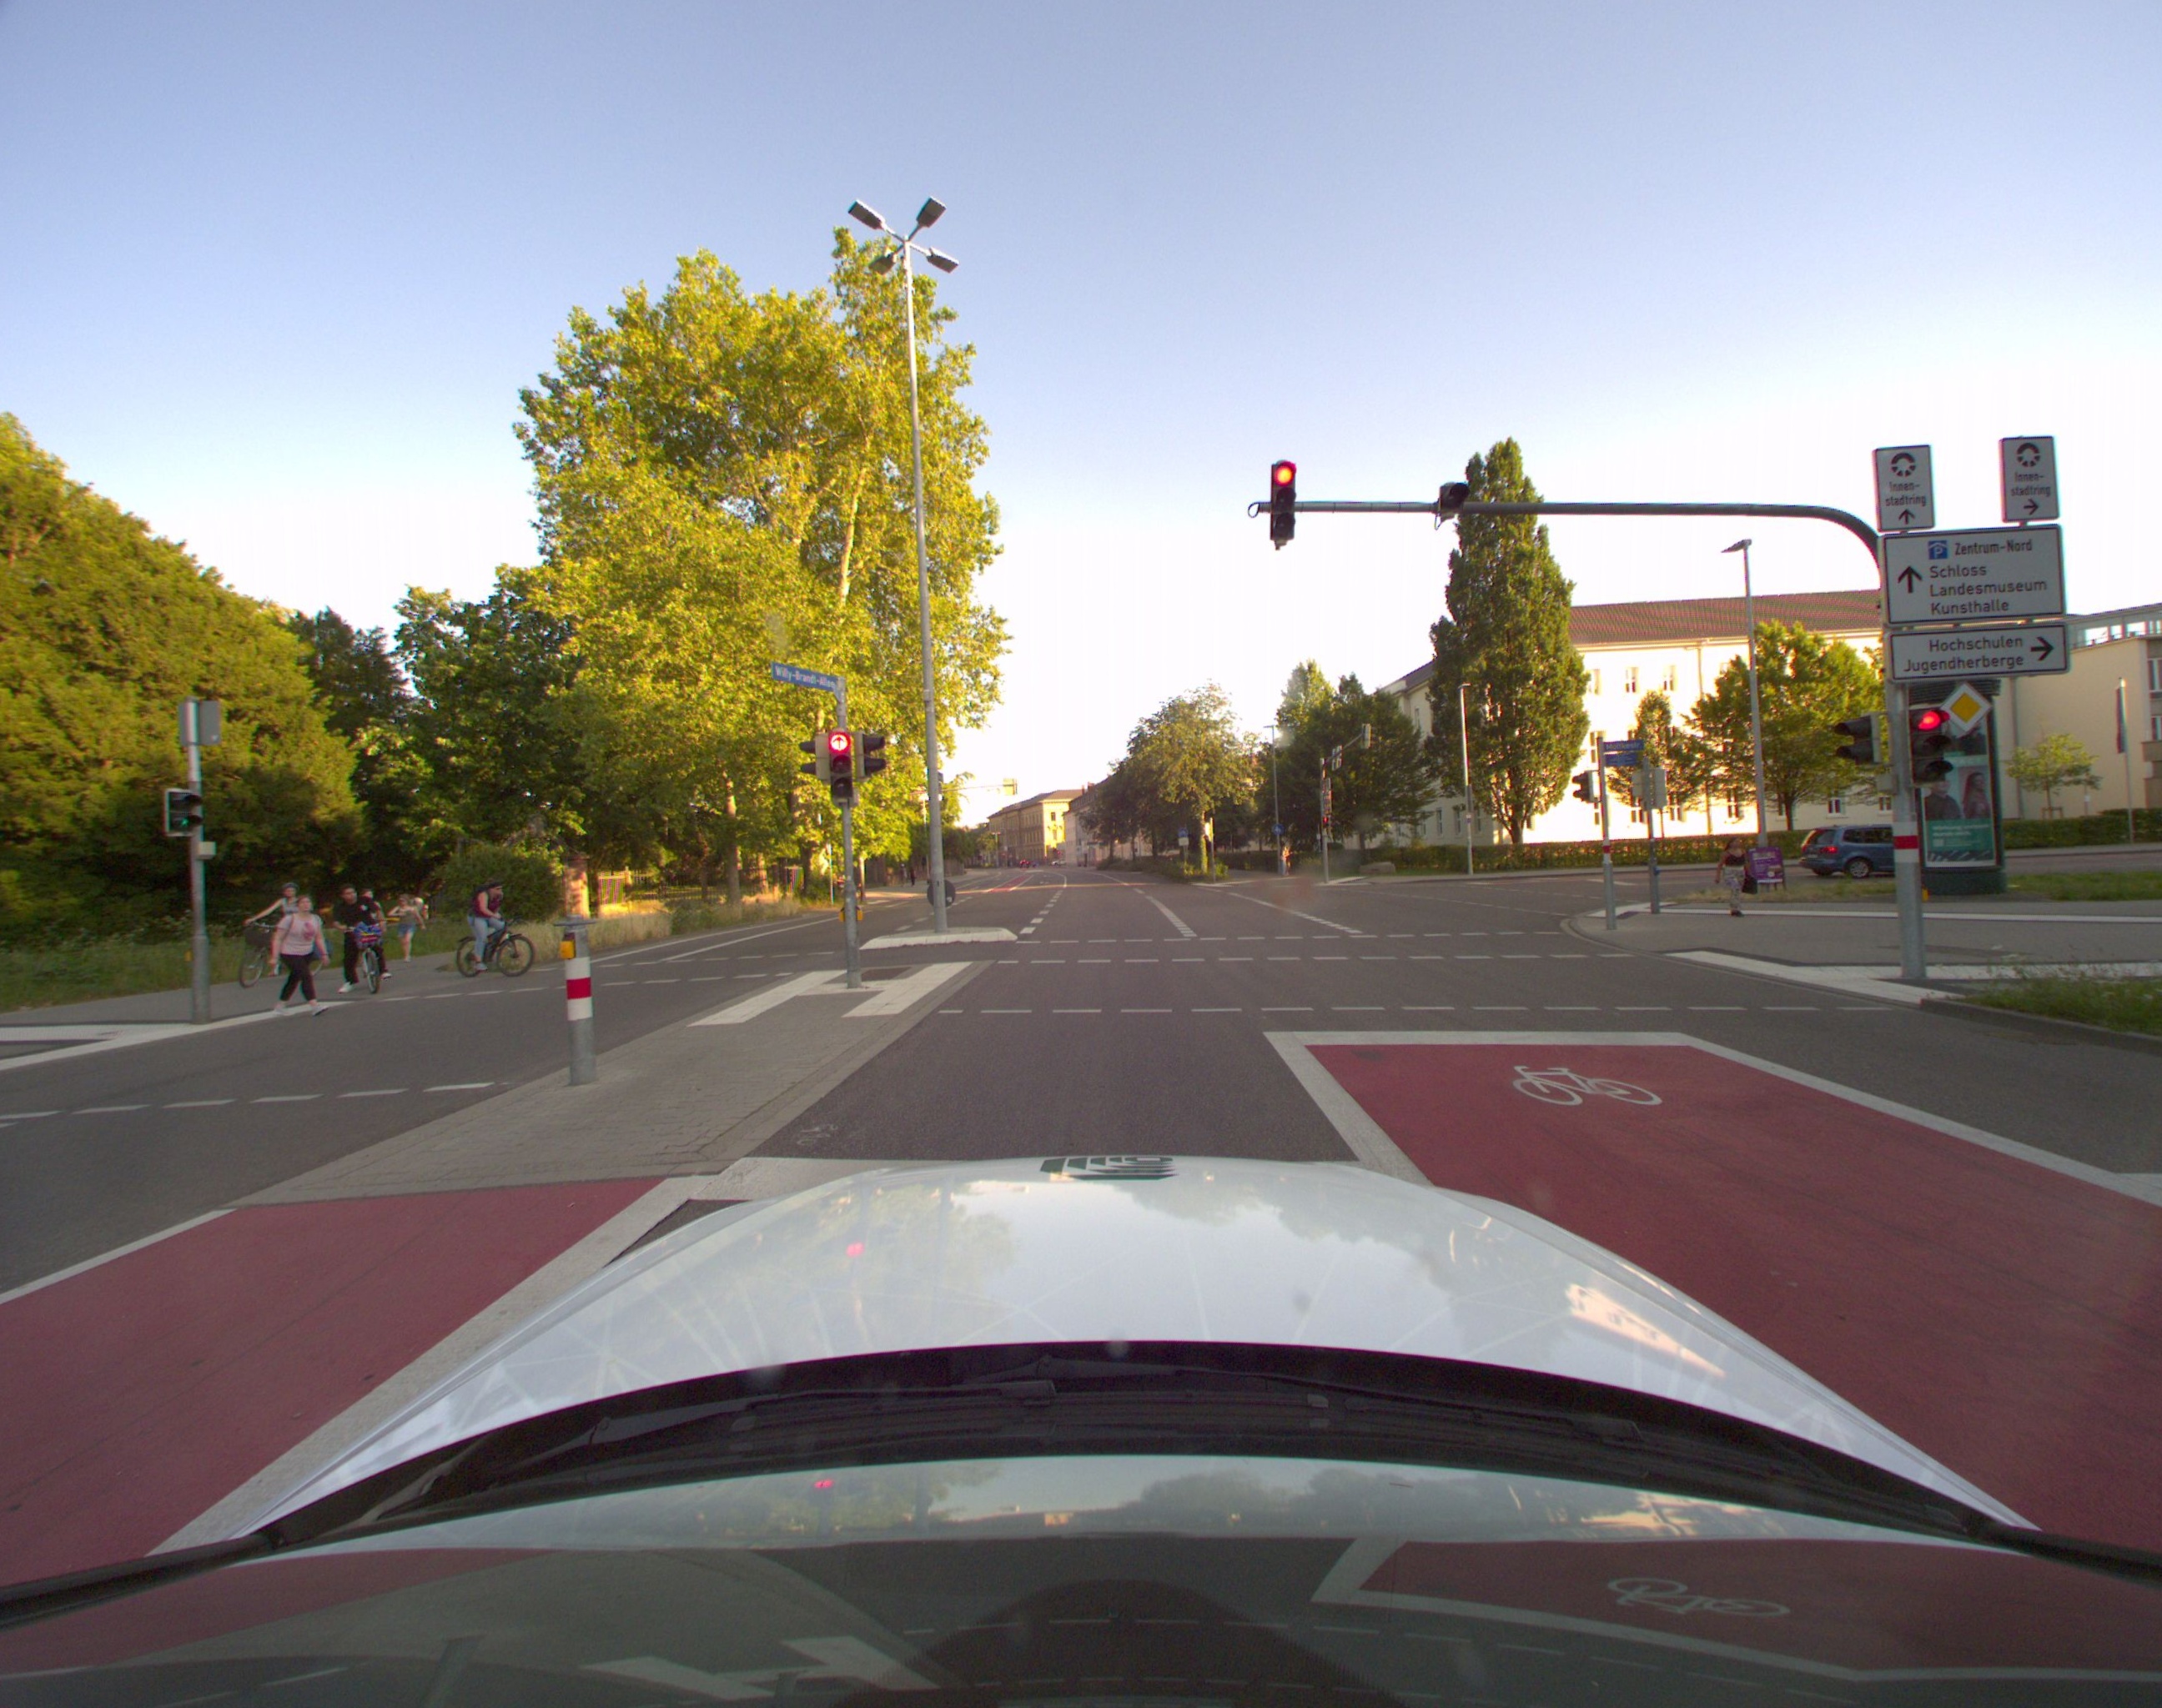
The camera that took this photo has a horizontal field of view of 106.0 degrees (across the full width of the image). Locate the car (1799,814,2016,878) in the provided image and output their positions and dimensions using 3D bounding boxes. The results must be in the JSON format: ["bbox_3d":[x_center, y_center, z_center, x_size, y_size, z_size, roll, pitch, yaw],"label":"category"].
[{"bbox_3d":[25.050,-0.254,24.896,4.245,1.720,1.865,-2,2,21],"label":"car"}]

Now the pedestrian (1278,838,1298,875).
[{"bbox_3d":[11.332,0.133,44.578,0.867,2.014,0.723,-2,-1,1],"label":"pedestrian"}]

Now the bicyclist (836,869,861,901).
[{"bbox_3d":[-12.157,1.608,42.593,0.954,1.631,0.753,-3,0,2],"label":"bicyclist"}]

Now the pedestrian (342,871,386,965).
[{"bbox_3d":[-15.885,1.396,18.062,0.654,2.014,0.599,-1,-1,-37],"label":"pedestrian"}]

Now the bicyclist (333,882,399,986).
[{"bbox_3d":[-11.935,1.323,13.599,0.631,1.649,0.634,-3,-1,32],"label":"bicyclist"}]

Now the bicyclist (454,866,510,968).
[{"bbox_3d":[-10.924,1.135,14.853,0.631,1.780,0.580,-3,-1,32],"label":"bicyclist"}]

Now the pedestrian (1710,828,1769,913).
[{"bbox_3d":[13.040,0.316,16.148,0.597,1.636,0.692,-2,0,5],"label":"pedestrian"}]

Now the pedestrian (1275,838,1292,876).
[{"bbox_3d":[10.752,0.167,43.213,0.633,2.014,0.720,-2,-1,-2],"label":"pedestrian"}]

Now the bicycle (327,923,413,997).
[{"bbox_3d":[-11.827,1.732,13.535,1.548,1.111,0.637,-3,-1,32],"label":"bicycle"}]

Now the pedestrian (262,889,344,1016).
[{"bbox_3d":[-10.851,1.359,11.374,0.604,1.695,0.499,-3,0,3],"label":"pedestrian"}]

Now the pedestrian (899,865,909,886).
[{"bbox_3d":[-13.886,1.703,63.830,0.533,1.596,0.591,-3,0,1],"label":"pedestrian"}]

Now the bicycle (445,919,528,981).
[{"bbox_3d":[-10.816,1.716,14.790,1.749,1.030,0.583,-3,-1,32],"label":"bicycle"}]

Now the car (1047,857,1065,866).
[{"bbox_3d":[-6.110,1.855,197.962,3.966,2.013,2.004,-2,0,6],"label":"car"}]

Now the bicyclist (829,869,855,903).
[{"bbox_3d":[-11.934,1.592,40.708,0.954,1.631,0.753,-3,0,2],"label":"bicyclist"}]

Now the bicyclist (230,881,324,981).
[{"bbox_3d":[-14.804,1.396,15.027,0.753,1.728,0.944,-2,-1,-1],"label":"bicyclist"}]

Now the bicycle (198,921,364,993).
[{"bbox_3d":[-14.748,1.855,15.126,0.736,1.033,2.298,-2,0,2],"label":"bicycle"}]

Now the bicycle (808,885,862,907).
[{"bbox_3d":[-12.280,2.098,40.701,2.420,0.924,0.775,-3,0,2],"label":"bicycle"}]

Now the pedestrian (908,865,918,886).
[{"bbox_3d":[-13.135,1.688,63.775,0.597,1.573,0.646,-3,0,1],"label":"pedestrian"}]

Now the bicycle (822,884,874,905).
[{"bbox_3d":[-12.170,2.100,42.602,2.420,0.924,0.775,-3,0,2],"label":"bicycle"}]

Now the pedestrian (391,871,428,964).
[{"bbox_3d":[-15.059,1.406,18.266,0.598,2.014,0.634,-1,-1,-38],"label":"pedestrian"}]

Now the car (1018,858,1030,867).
[{"bbox_3d":[-11.930,1.762,170.250,1.821,1.588,3.983,-4,0,-12],"label":"car"}]
